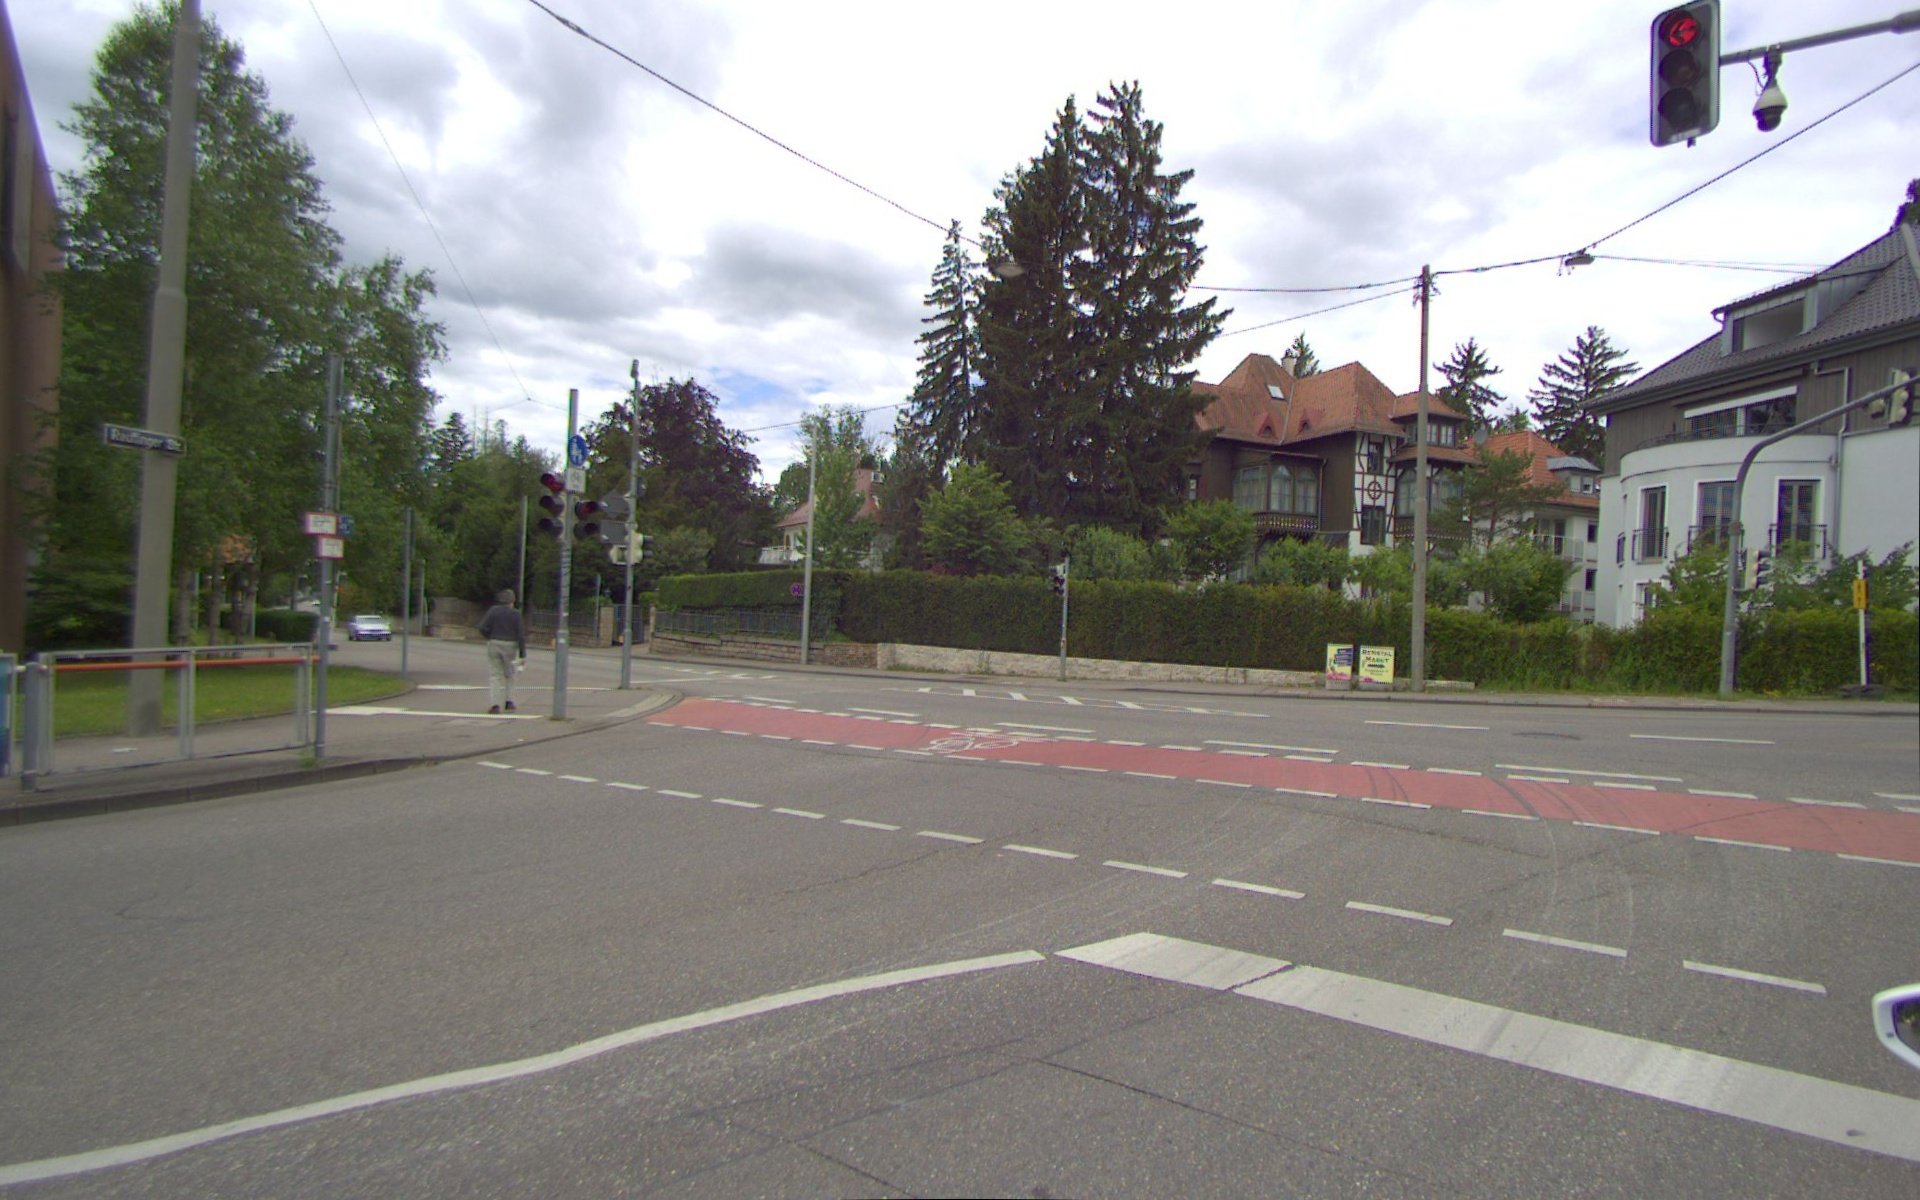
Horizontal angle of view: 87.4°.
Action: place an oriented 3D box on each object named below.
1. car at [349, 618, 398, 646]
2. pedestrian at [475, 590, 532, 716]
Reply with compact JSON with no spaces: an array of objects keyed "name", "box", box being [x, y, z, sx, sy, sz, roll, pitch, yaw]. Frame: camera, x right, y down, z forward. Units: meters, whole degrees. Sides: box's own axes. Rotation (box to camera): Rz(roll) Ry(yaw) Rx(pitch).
[{"name":"car","box":[-33.382,1.797,57.119,1.695,1.432,4.374,1,0,-40]},{"name":"pedestrian","box":[-6.192,0.698,13.658,0.673,1.655,0.736,0,-1,-22]}]
